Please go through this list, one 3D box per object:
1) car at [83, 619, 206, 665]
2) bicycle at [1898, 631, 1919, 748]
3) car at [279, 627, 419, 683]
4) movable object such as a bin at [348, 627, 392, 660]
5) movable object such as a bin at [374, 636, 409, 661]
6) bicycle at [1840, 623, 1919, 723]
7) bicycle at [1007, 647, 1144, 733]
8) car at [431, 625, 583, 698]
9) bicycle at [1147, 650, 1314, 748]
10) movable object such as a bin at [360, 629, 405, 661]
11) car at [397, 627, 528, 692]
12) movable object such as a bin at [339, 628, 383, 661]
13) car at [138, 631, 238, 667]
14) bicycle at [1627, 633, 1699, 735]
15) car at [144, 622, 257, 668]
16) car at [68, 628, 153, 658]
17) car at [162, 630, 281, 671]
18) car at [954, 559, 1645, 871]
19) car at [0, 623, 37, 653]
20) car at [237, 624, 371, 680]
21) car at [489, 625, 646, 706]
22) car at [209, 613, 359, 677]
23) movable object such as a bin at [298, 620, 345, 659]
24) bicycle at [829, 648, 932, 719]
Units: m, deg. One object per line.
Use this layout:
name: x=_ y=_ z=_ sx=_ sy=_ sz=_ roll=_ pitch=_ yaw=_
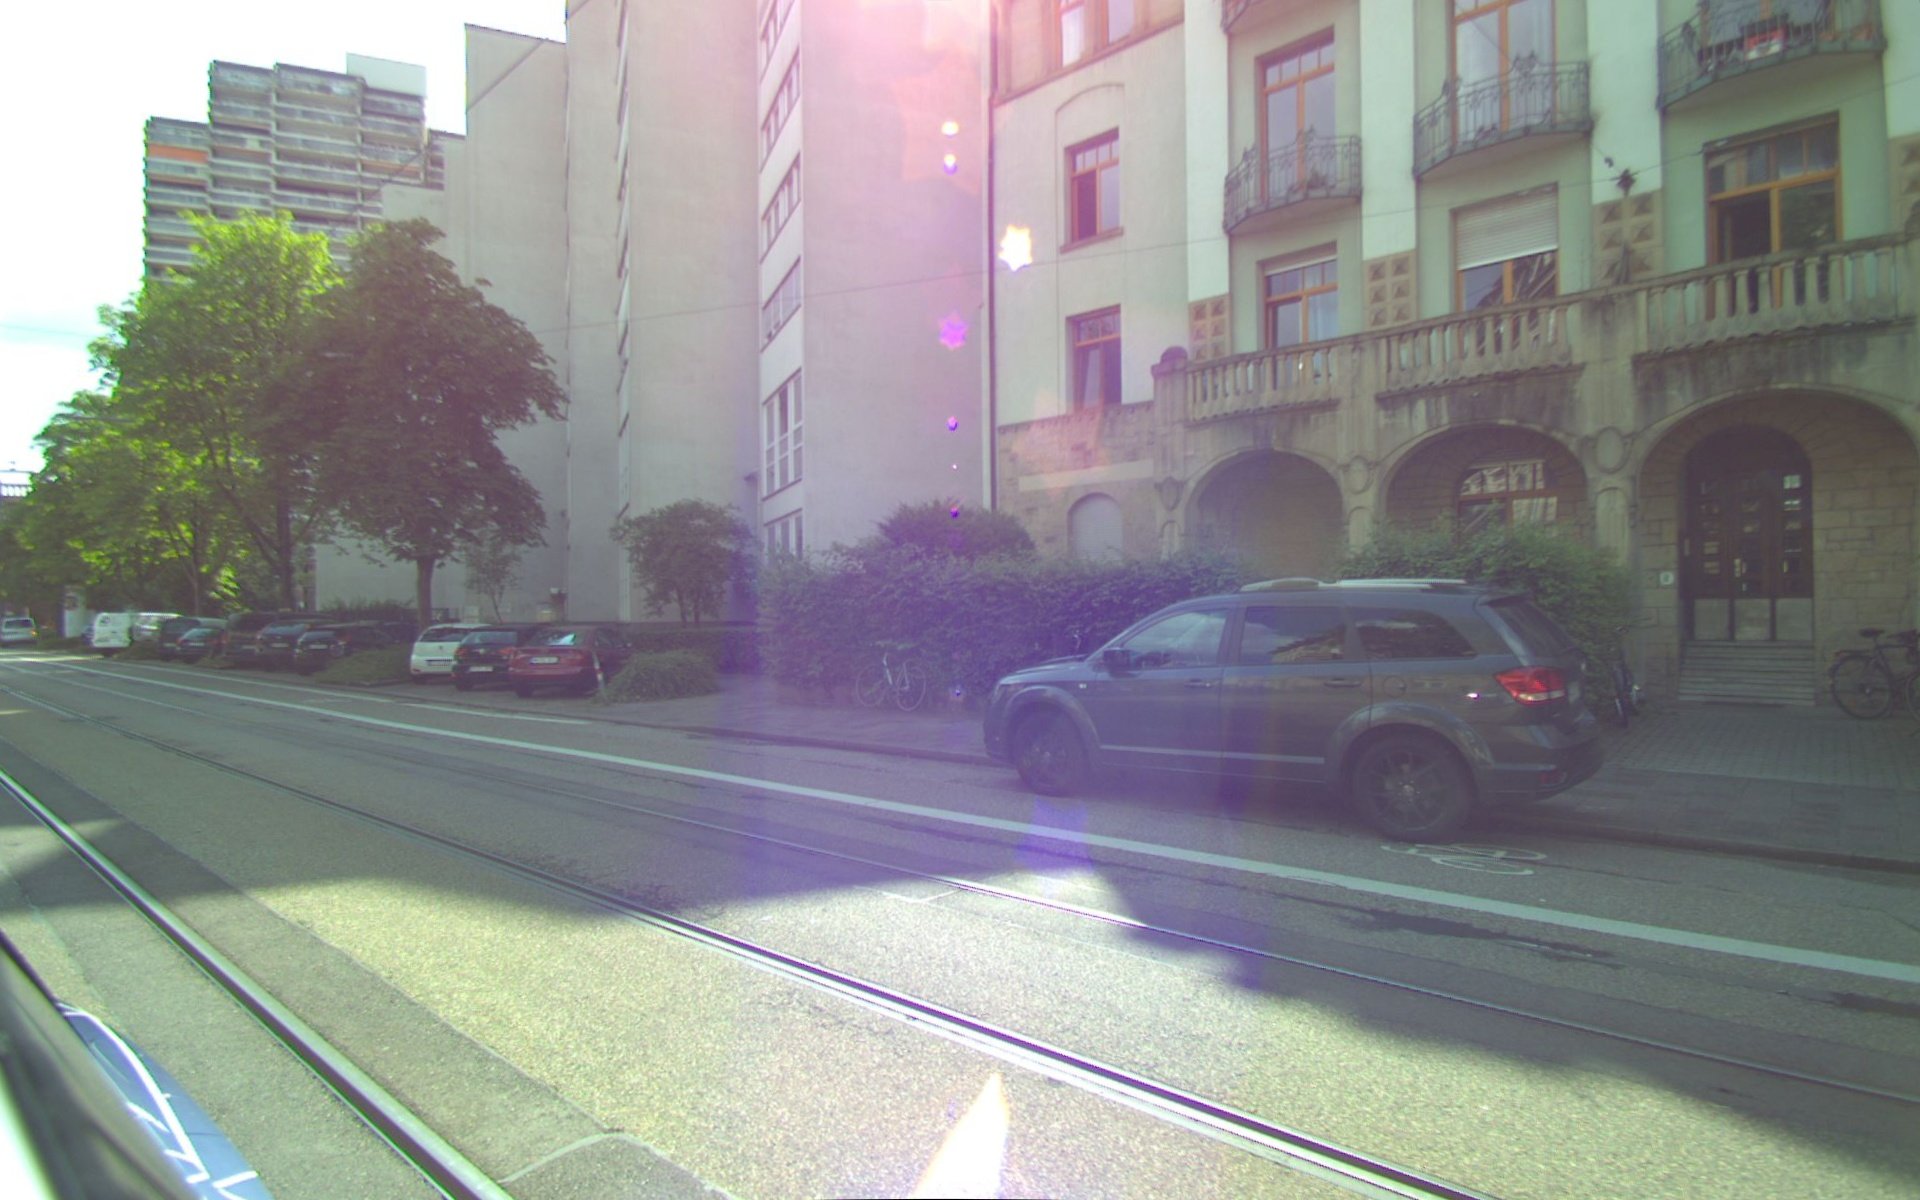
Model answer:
car: x=-37.391 y=1.894 z=46.589 sx=1.941 sy=2.012 sz=4.686 roll=0 pitch=-2 yaw=-1
bicycle: x=9.346 y=0.834 z=9.709 sx=0.393 sy=0.998 sz=1.380 roll=-1 pitch=1 yaw=39
car: x=-17.813 y=1.618 z=29.721 sx=1.716 sy=1.495 sz=4.000 roll=1 pitch=-3 yaw=-1
movable object such as a bin: x=-25.322 y=1.863 z=43.414 sx=1.441 sy=1.337 sz=1.152 roll=-1 pitch=-4 yaw=40
movable object such as a bin: x=-23.372 y=2.002 z=41.579 sx=0.934 sy=0.994 sz=0.954 roll=-1 pitch=-4 yaw=40
bicycle: x=10.426 y=0.789 z=11.300 sx=1.374 sy=0.998 sz=0.395 roll=-2 pitch=1 yaw=-27
bicycle: x=1.410 y=1.091 z=12.624 sx=1.810 sy=0.966 sz=0.378 roll=-2 pitch=0 yaw=43
car: x=-10.267 y=1.394 z=23.271 sx=1.675 sy=1.495 sz=3.805 roll=1 pitch=-3 yaw=2
bicycle: x=2.957 y=1.059 z=11.216 sx=1.810 sy=0.966 sz=0.378 roll=-2 pitch=0 yaw=43
movable object such as a bin: x=-24.211 y=1.876 z=42.449 sx=1.441 sy=1.293 sz=1.156 roll=-1 pitch=-4 yaw=40
car: x=-12.570 y=1.501 z=25.834 sx=1.672 sy=1.495 sz=3.810 roll=1 pitch=-3 yaw=-4
movable object such as a bin: x=-26.578 y=1.959 z=44.873 sx=1.440 sy=1.391 sz=1.181 roll=-1 pitch=-4 yaw=38
car: x=-32.665 y=2.081 z=42.980 sx=1.694 sy=1.428 sz=4.008 roll=1 pitch=-3 yaw=-10
bicycle: x=7.813 y=0.886 z=11.218 sx=0.384 sy=0.966 sz=1.894 roll=-2 pitch=0 yaw=42
car: x=-30.095 y=1.809 z=40.229 sx=1.735 sy=1.706 sz=3.717 roll=1 pitch=-3 yaw=-2
car: x=-47.136 y=2.355 z=56.225 sx=1.716 sy=1.535 sz=3.890 roll=-1 pitch=-1 yaw=-5
car: x=-27.614 y=1.884 z=38.021 sx=1.734 sy=1.428 sz=4.004 roll=1 pitch=-3 yaw=-5
car: x=2.388 y=0.722 z=8.011 sx=4.877 sy=1.776 sz=1.767 roll=-2 pitch=-2 yaw=39
car: x=-63.510 y=2.515 z=67.716 sx=4.231 sy=1.865 sz=1.869 roll=-1 pitch=1 yaw=39
car: x=-20.373 y=1.617 z=31.650 sx=1.715 sy=1.605 sz=4.002 roll=1 pitch=-3 yaw=-3
car: x=-8.062 y=1.337 z=21.169 sx=1.820 sy=1.495 sz=3.971 roll=1 pitch=-3 yaw=-2
car: x=-22.713 y=1.547 z=34.292 sx=1.887 sy=1.969 sz=5.173 roll=1 pitch=-3 yaw=-5
movable object such as a bin: x=-30.375 y=1.861 z=48.133 sx=1.537 sy=1.795 sz=1.374 roll=-1 pitch=-4 yaw=37
bicycle: x=-1.195 y=1.205 z=14.956 sx=1.810 sy=0.966 sz=0.378 roll=-2 pitch=0 yaw=43
